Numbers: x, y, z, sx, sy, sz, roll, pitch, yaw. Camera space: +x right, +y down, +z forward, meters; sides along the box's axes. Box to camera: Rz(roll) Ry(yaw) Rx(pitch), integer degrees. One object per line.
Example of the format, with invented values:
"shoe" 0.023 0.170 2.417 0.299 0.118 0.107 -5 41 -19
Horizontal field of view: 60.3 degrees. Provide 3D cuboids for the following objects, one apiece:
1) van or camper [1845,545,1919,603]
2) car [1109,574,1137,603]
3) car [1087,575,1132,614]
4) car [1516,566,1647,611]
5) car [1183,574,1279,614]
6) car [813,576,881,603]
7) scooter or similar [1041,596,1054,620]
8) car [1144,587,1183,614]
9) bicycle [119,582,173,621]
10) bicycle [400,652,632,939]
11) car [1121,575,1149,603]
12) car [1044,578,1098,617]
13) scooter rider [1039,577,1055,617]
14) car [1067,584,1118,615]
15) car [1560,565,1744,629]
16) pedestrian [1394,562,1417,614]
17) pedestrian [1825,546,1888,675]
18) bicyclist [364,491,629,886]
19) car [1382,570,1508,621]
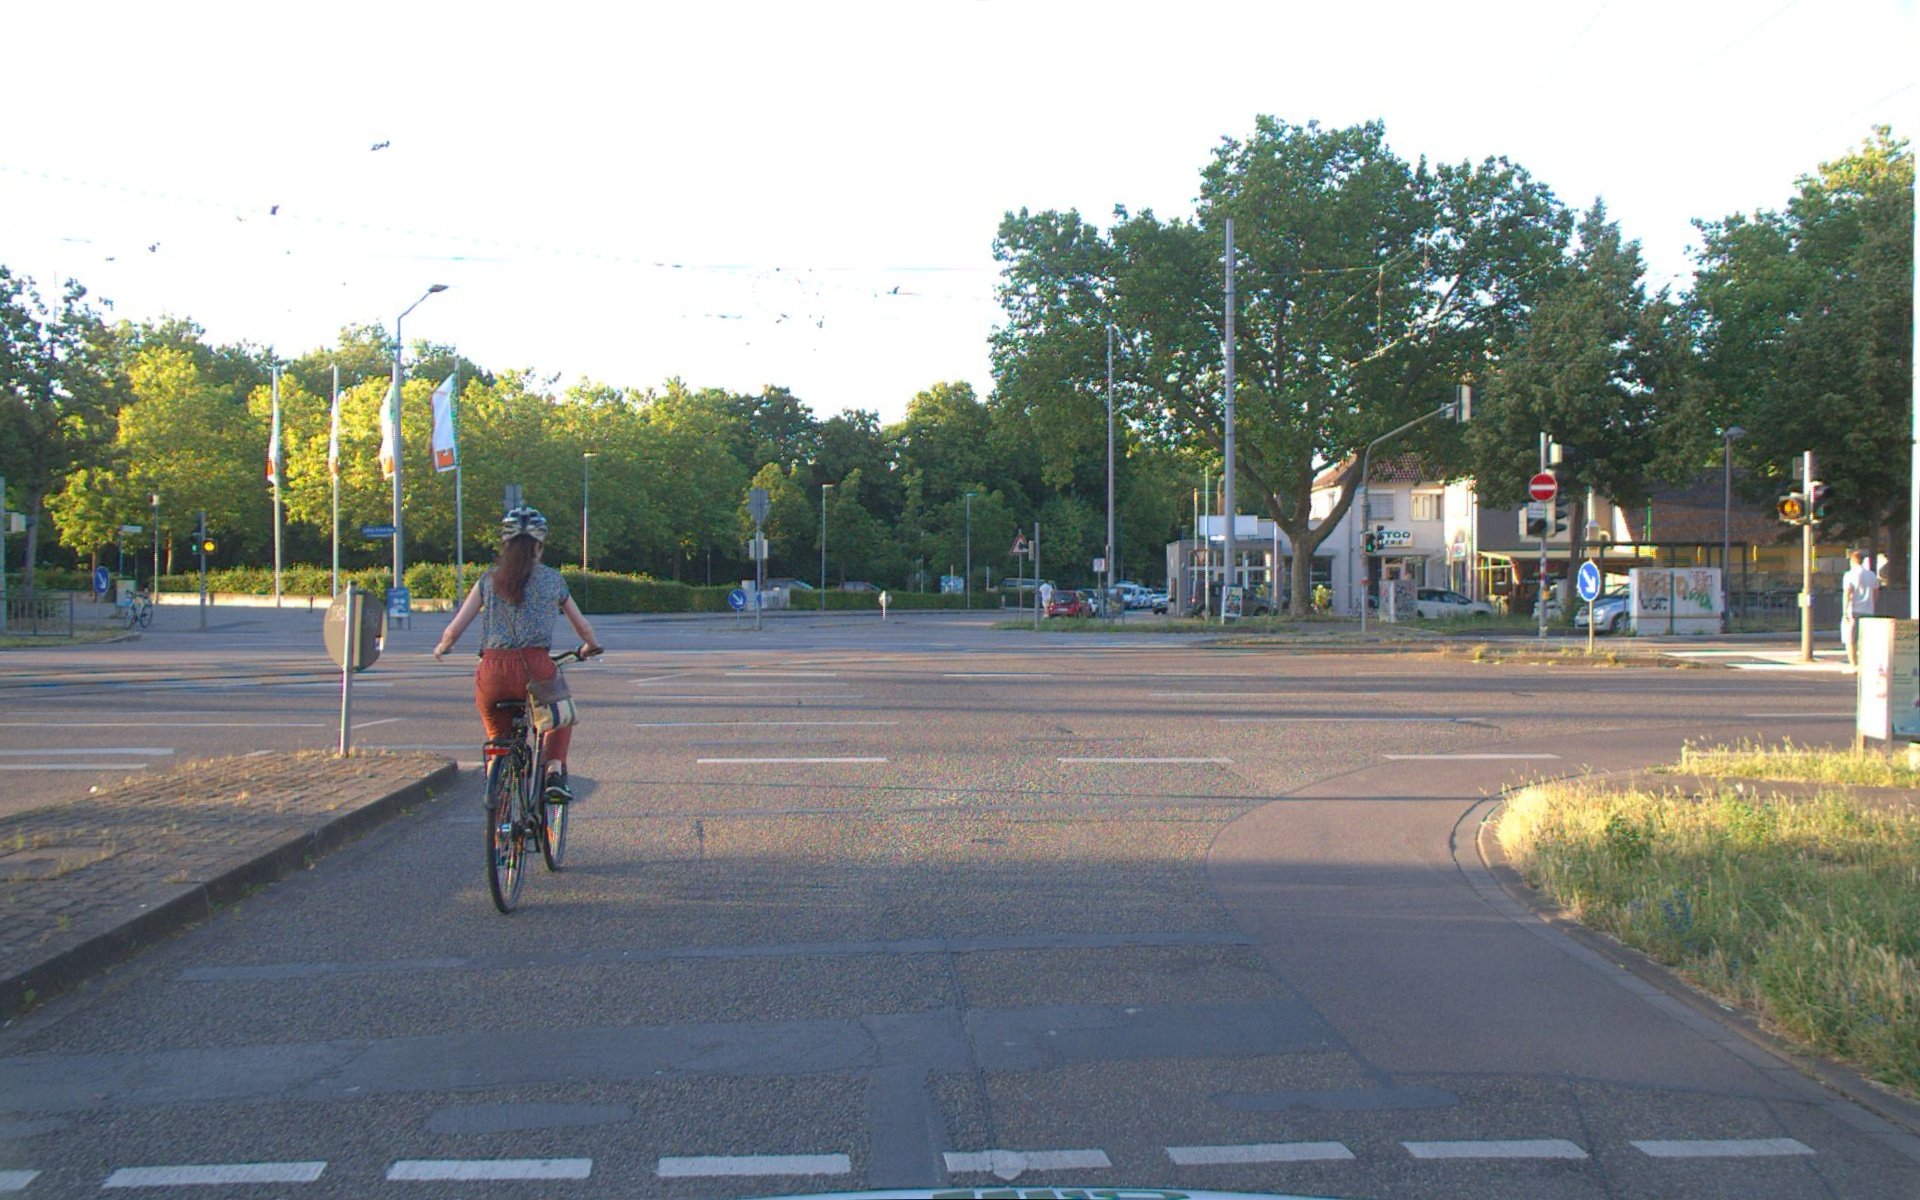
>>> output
"van or camper" 41.409 -1.081 70.280 6.427 2.452 2.265 0 0 1
"car" 11.845 -0.846 120.245 1.951 2.049 4.002 0 1 4
"car" 8.349 -0.327 92.181 1.874 2.083 4.003 0 1 15
"car" 23.053 -0.433 61.444 4.143 1.605 2.000 0 1 0
"car" 12.771 -0.289 78.042 4.286 1.867 1.949 0 1 2
"car" -6.659 -0.637 97.642 3.906 1.588 2.000 0 1 -1
"scooter or similar" 4.163 0.378 78.537 0.500 1.109 1.242 0 1 -3
"car" 12.839 0.032 104.220 1.874 1.630 4.003 0 1 15
"bicycle" -24.786 0.031 50.403 0.685 1.156 2.390 0 1 -5
"bicycle" -2.030 0.833 7.846 0.621 1.086 2.121 0 1 -3
"car" 13.207 -0.829 124.894 1.951 2.049 4.002 0 1 4
"car" 5.682 -0.142 84.426 1.829 1.907 3.876 0 1 18
"scooter rider" 4.125 -0.147 78.568 0.688 1.887 0.668 0 0 -3
"car" 7.099 -0.038 88.298 1.951 1.601 4.003 0 1 17
"car" 19.336 -0.090 46.306 4.447 1.758 1.859 0 1 -7
"pedestrian" 15.427 -0.402 57.266 0.703 1.785 0.897 0 0 21
"pedestrian" 13.014 0.145 24.033 0.747 1.822 0.801 1 1 27
"bicyclist" -2.153 0.386 7.837 1.011 1.748 0.995 0 0 -3
"car" 18.093 -0.188 61.808 4.143 1.878 2.000 0 1 0
